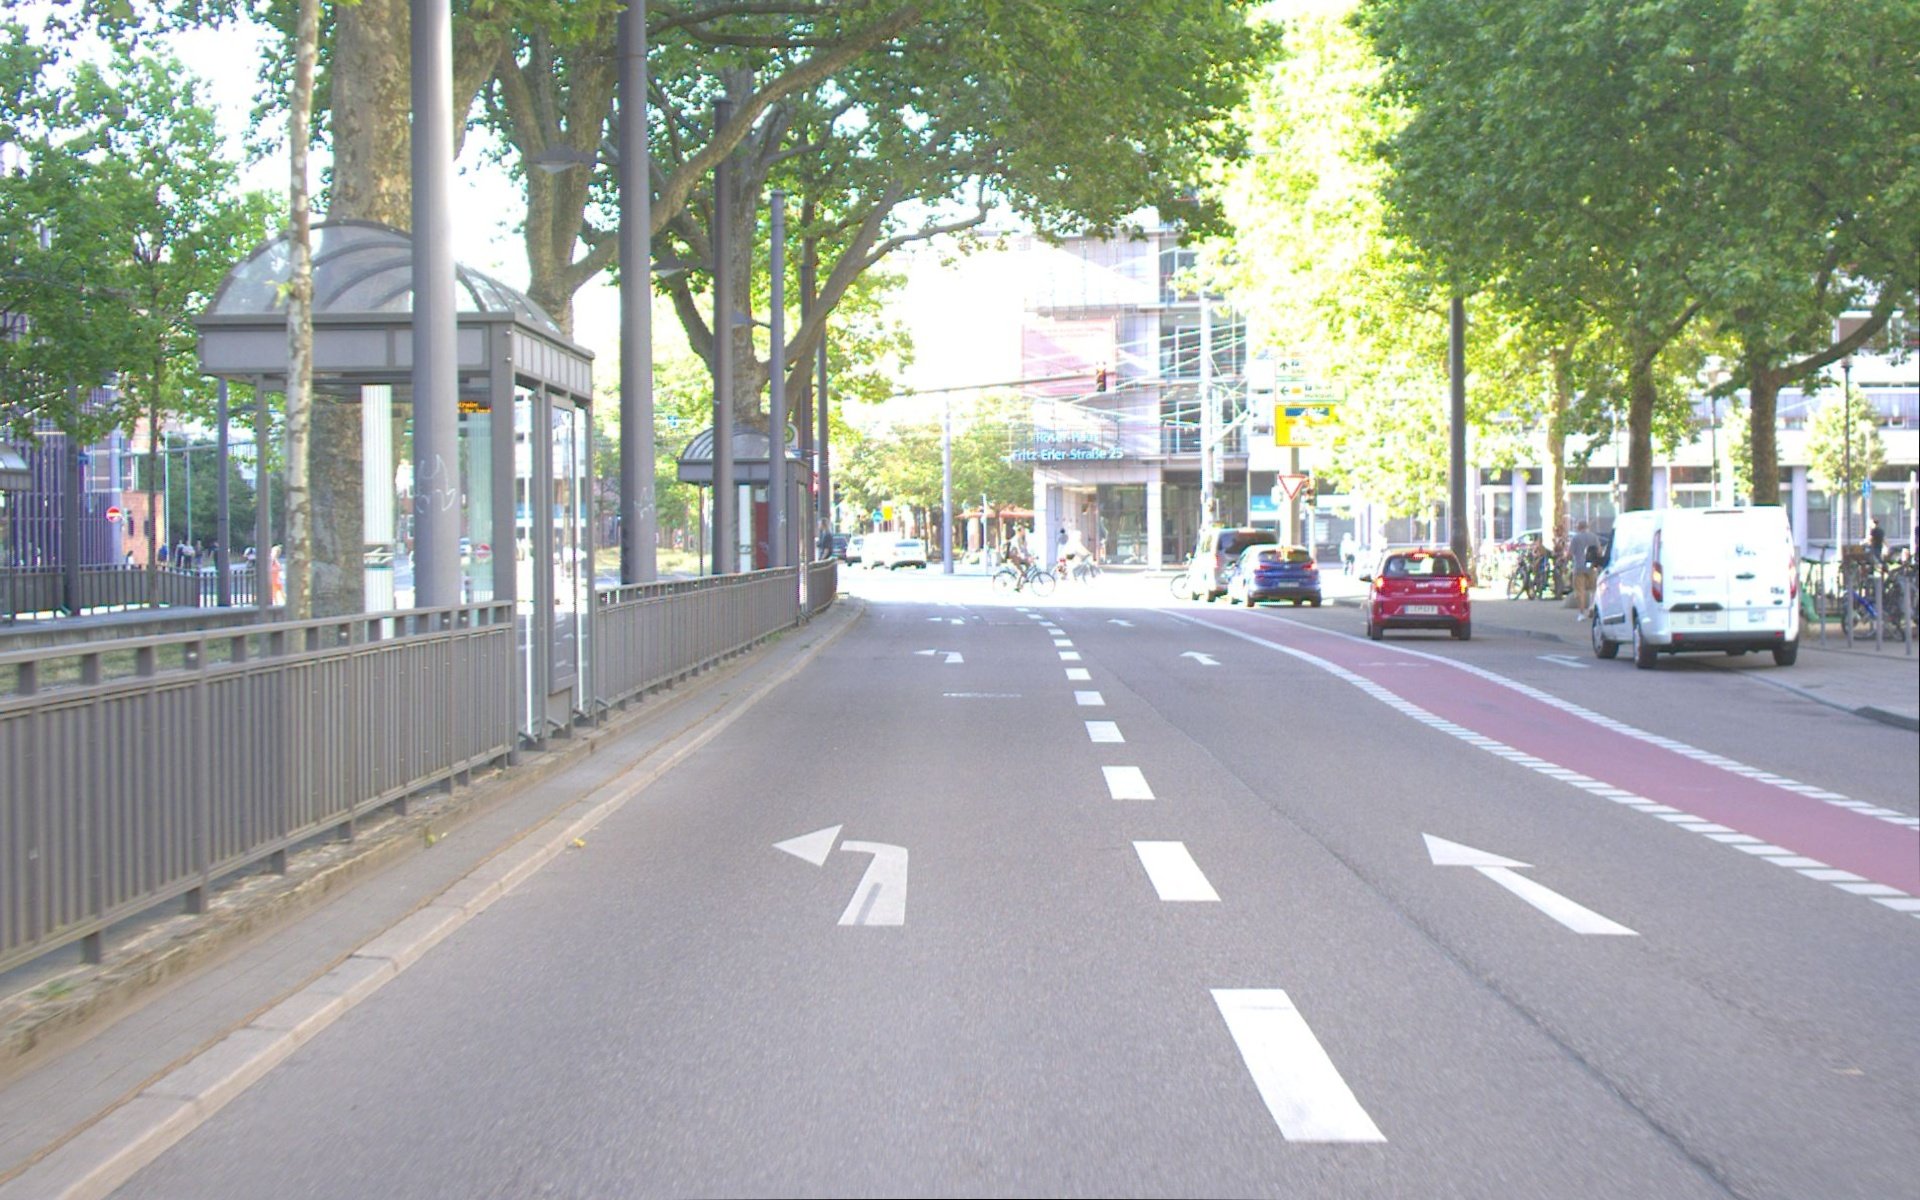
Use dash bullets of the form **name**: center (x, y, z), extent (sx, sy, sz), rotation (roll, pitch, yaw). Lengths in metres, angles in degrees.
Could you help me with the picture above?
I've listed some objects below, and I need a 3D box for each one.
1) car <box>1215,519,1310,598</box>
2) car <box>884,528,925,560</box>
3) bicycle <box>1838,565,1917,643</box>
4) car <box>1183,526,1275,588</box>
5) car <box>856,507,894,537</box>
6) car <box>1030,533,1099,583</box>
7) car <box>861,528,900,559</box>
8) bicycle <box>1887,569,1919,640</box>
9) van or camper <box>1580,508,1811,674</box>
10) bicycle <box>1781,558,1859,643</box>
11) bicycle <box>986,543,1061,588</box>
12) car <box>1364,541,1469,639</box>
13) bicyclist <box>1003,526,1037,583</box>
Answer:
- **car**: center (7.115, -1.003, 81.044), extent (1.635, 1.794, 3.330), rotation (-1, 1, -5)
- **car**: center (-2.731, -2.759, 168.985), extent (1.777, 1.529, 3.412), rotation (0, 1, -5)
- **bicycle**: center (13.146, 0.041, 49.297), extent (0.586, 1.063, 1.900), rotation (-2, 1, -1)
- **car**: center (6.803, -1.106, 87.254), extent (1.777, 1.529, 3.513), rotation (0, 1, -5)
- **car**: center (-4.498, -4.134, 181.575), extent (1.777, 1.583, 3.412), rotation (0, 1, -5)
- **car**: center (3.280, -1.345, 108.199), extent (1.777, 1.529, 3.513), rotation (0, 1, -5)
- **car**: center (-4.054, -2.899, 175.585), extent (1.777, 1.529, 3.412), rotation (0, 1, -5)
- **bicycle**: center (13.787, 0.056, 49.312), extent (0.467, 0.978, 1.768), rotation (-2, 1, -1)
- **van or camper**: center (9.304, -0.155, 43.868), extent (1.993, 1.982, 4.745), rotation (0, 1, 1)
- **bicycle**: center (12.322, -0.008, 49.311), extent (0.586, 1.157, 1.900), rotation (-2, 1, -1)
- **bicycle**: center (1.750, -0.957, 94.800), extent (2.011, 1.210, 0.839), rotation (0, 1, -5)
- **car**: center (7.477, -0.189, 56.513), extent (1.613, 1.529, 3.411), rotation (0, 1, 6)
- **bicyclist**: center (1.651, -1.259, 94.793), extent (0.836, 1.586, 0.839), rotation (0, 1, -5)
